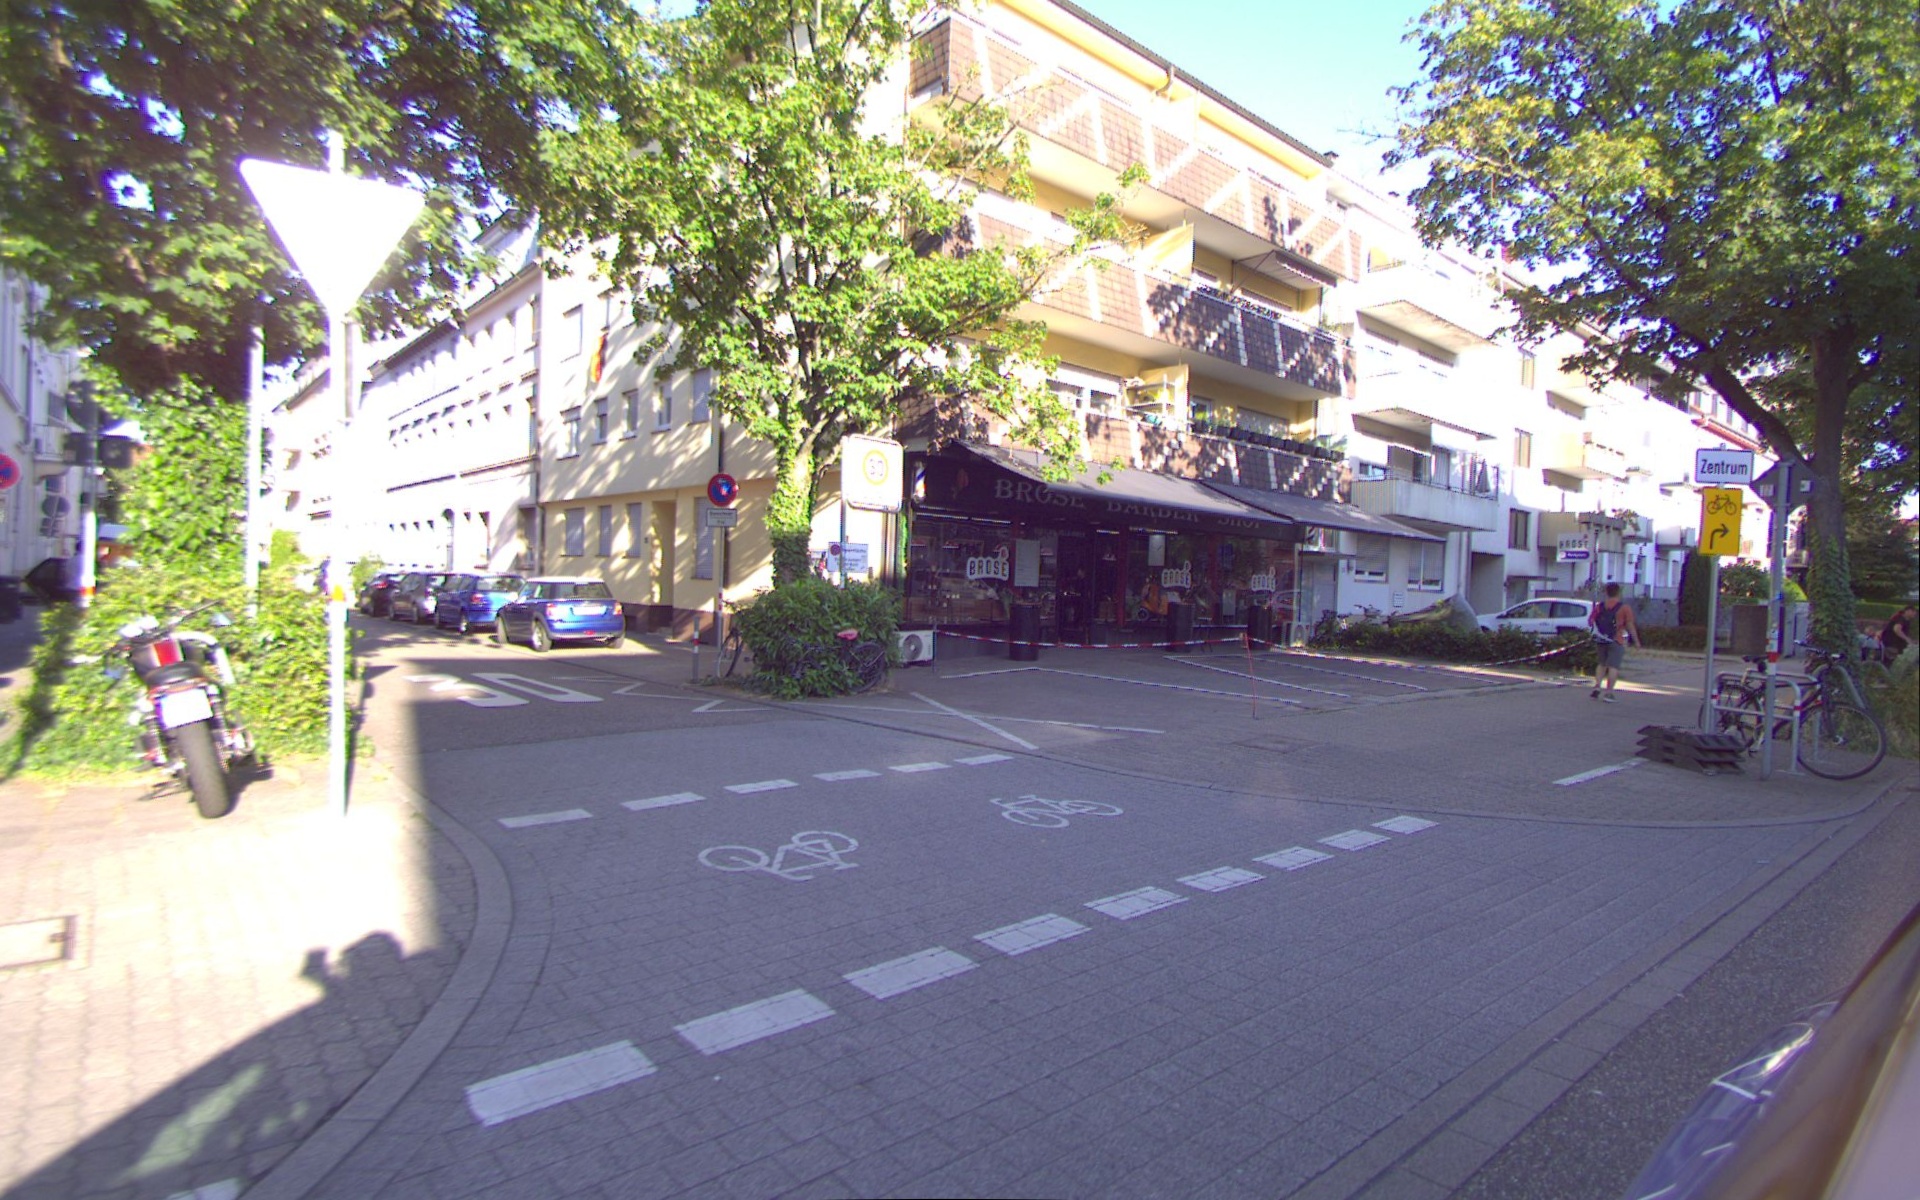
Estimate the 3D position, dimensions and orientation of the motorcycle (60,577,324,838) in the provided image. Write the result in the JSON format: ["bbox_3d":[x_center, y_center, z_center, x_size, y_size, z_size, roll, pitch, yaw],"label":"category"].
[{"bbox_3d":[-4.613,0.517,6.012,2.153,1.255,0.778,2,1,40],"label":"motorcycle"}]

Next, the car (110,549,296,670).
[{"bbox_3d":[-11.038,0.094,14.647,1.742,1.502,3.993,4,-1,-42],"label":"car"}]

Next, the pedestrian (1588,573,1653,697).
[{"bbox_3d":[9.835,0.504,15.074,0.552,1.794,0.619,2,0,-40],"label":"pedestrian"}]

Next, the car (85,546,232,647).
[{"bbox_3d":[-14.322,-0.090,18.006,1.742,1.559,3.993,4,-1,-42],"label":"car"}]

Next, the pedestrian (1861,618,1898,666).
[{"bbox_3d":[21.531,0.978,23.705,0.533,1.072,0.553,1,1,-40],"label":"pedestrian"}]

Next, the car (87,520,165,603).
[{"bbox_3d":[-29.253,-1.341,35.490,1.965,2.706,4.576,1,1,-40],"label":"car"}]

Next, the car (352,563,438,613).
[{"bbox_3d":[-17.954,-0.424,32.083,1.708,1.472,3.996,-1,2,-39],"label":"car"}]

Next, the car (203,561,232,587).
[{"bbox_3d":[-62.233,-2.153,84.808,1.732,2.039,3.995,1,-1,-39],"label":"car"}]

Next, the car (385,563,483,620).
[{"bbox_3d":[-14.931,-0.283,28.628,1.708,1.472,3.996,-1,2,-39],"label":"car"}]

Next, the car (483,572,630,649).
[{"bbox_3d":[-8.398,0.136,20.875,1.708,1.377,3.996,-1,2,-39],"label":"car"}]

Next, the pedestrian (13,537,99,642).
[{"bbox_3d":[-14.777,-0.181,16.546,0.937,1.664,0.558,2,1,7],"label":"pedestrian"}]

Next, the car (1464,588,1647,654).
[{"bbox_3d":[15.563,0.500,26.566,1.550,1.523,3.869,1,1,-45],"label":"car"}]

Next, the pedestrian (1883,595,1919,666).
[{"bbox_3d":[20.251,0.636,21.462,0.798,1.462,0.916,1,1,-42],"label":"pedestrian"}]

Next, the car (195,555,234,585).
[{"bbox_3d":[-54.433,-2.149,73.904,1.965,2.039,3.993,1,-1,-41],"label":"car"}]

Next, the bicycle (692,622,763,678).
[{"bbox_3d":[-3.375,0.719,14.694,0.900,0.752,0.426,2,1,18],"label":"bicycle"}]

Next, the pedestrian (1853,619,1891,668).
[{"bbox_3d":[20.620,0.969,22.881,0.522,1.072,0.553,1,1,-39],"label":"pedestrian"}]

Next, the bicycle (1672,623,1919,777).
[{"bbox_3d":[7.939,0.886,9.643,0.602,1.176,1.904,1,3,-13],"label":"bicycle"}]

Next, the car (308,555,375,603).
[{"bbox_3d":[-24.424,-0.855,39.893,1.708,1.770,3.996,1,1,-39],"label":"car"}]

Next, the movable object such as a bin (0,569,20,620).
[{"bbox_3d":[-18.793,-0.107,19.767,0.592,0.989,0.507,1,1,-41],"label":"movable object such as a bin"}]

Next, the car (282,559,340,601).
[{"bbox_3d":[-29.108,-0.910,45.345,1.708,1.770,3.996,1,1,-39],"label":"car"}]

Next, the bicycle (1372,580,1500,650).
[{"bbox_3d":[10.747,0.305,22.925,0.912,1.459,2.457,1,1,-42],"label":"bicycle"}]

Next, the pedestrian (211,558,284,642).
[{"bbox_3d":[-13.337,-0.023,18.935,0.995,1.509,1.230,1,1,-41],"label":"pedestrian"}]

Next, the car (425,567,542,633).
[{"bbox_3d":[-11.835,-0.061,24.997,1.708,1.472,3.996,-1,2,-39],"label":"car"}]

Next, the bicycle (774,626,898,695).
[{"bbox_3d":[-1.536,0.730,12.635,1.504,0.777,0.486,1,1,-40],"label":"bicycle"}]
